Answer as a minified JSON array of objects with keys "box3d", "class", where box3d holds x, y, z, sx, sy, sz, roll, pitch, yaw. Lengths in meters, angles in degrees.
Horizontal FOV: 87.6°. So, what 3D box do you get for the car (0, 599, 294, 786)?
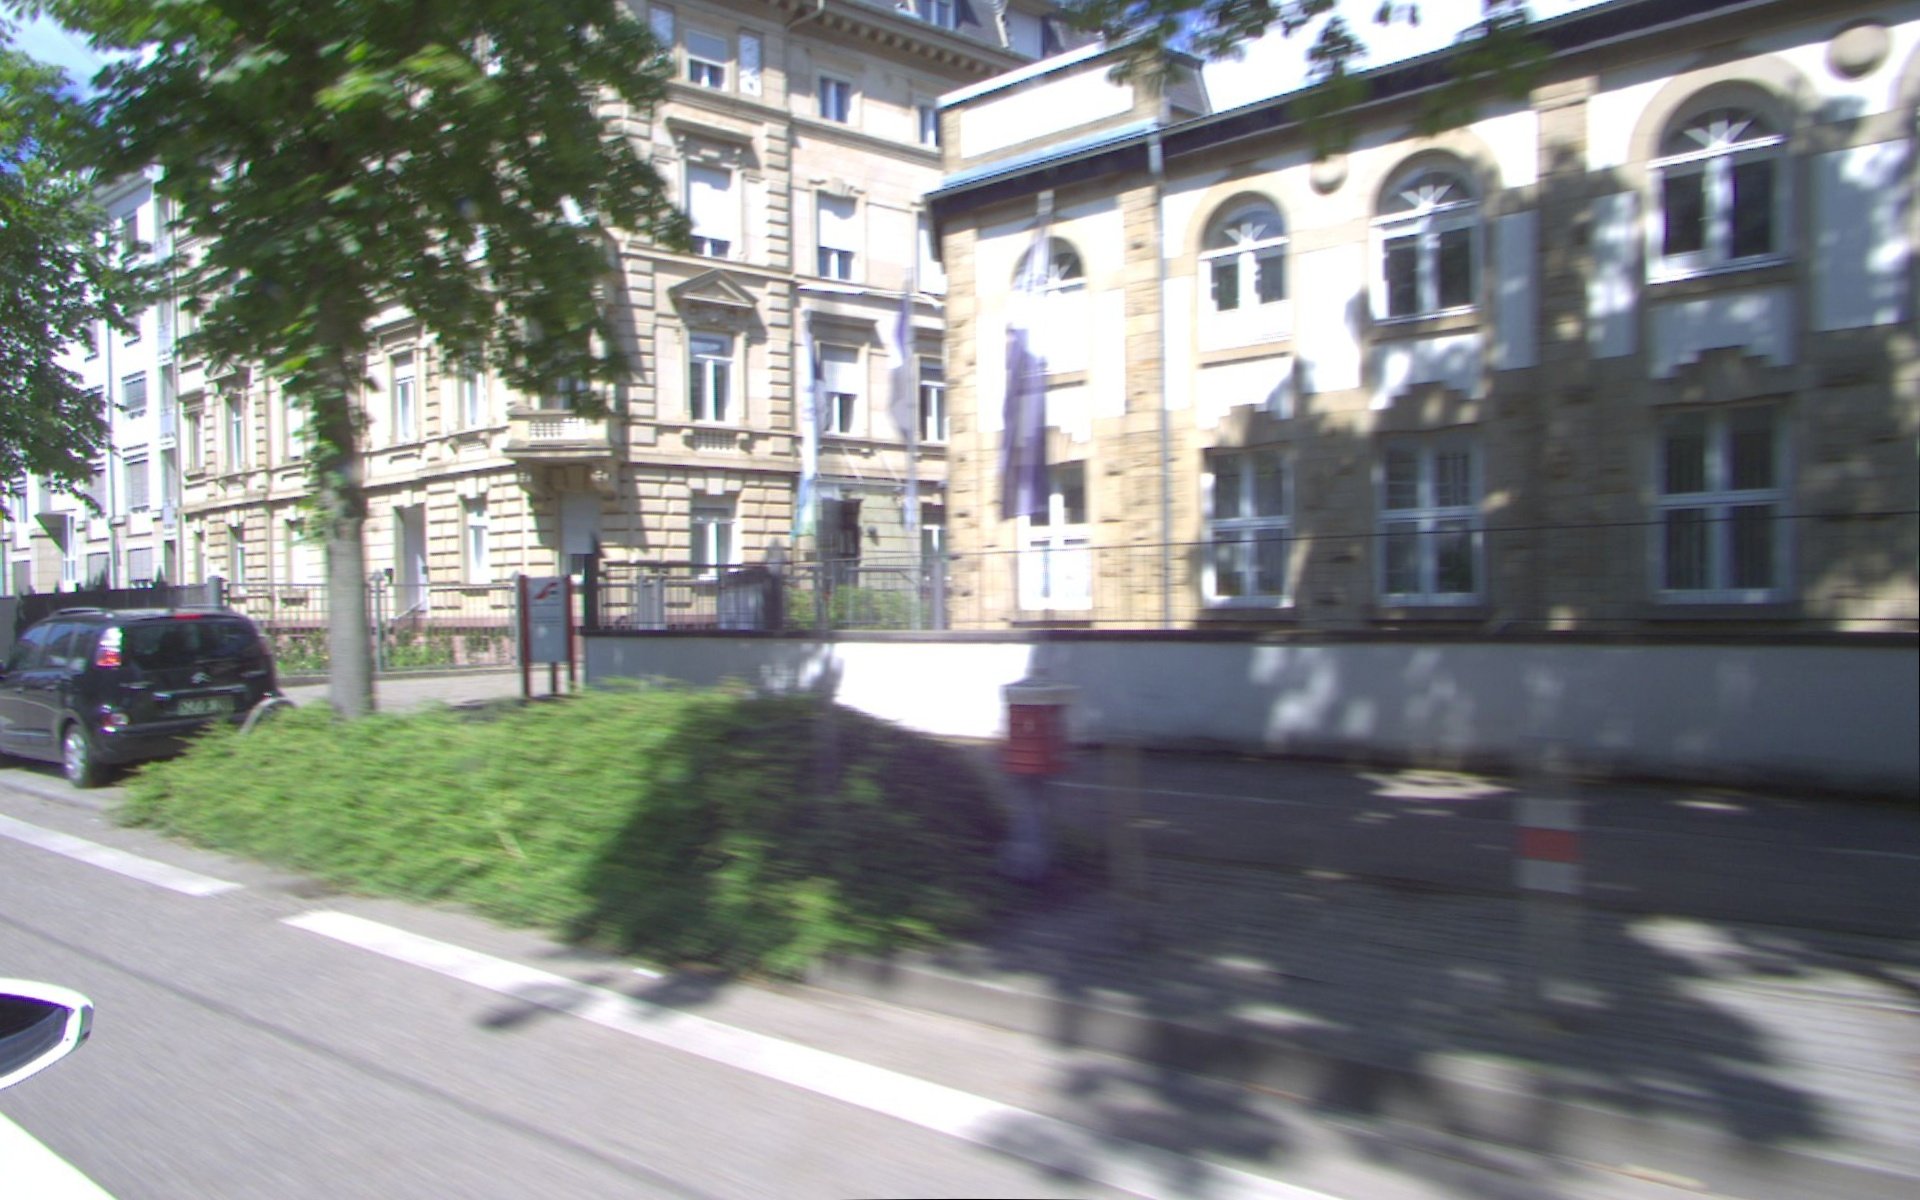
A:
[{"box3d":[-8.878,0.858,10.562,3.851,1.638,1.589,-1,0,32],"class":"car"}]
